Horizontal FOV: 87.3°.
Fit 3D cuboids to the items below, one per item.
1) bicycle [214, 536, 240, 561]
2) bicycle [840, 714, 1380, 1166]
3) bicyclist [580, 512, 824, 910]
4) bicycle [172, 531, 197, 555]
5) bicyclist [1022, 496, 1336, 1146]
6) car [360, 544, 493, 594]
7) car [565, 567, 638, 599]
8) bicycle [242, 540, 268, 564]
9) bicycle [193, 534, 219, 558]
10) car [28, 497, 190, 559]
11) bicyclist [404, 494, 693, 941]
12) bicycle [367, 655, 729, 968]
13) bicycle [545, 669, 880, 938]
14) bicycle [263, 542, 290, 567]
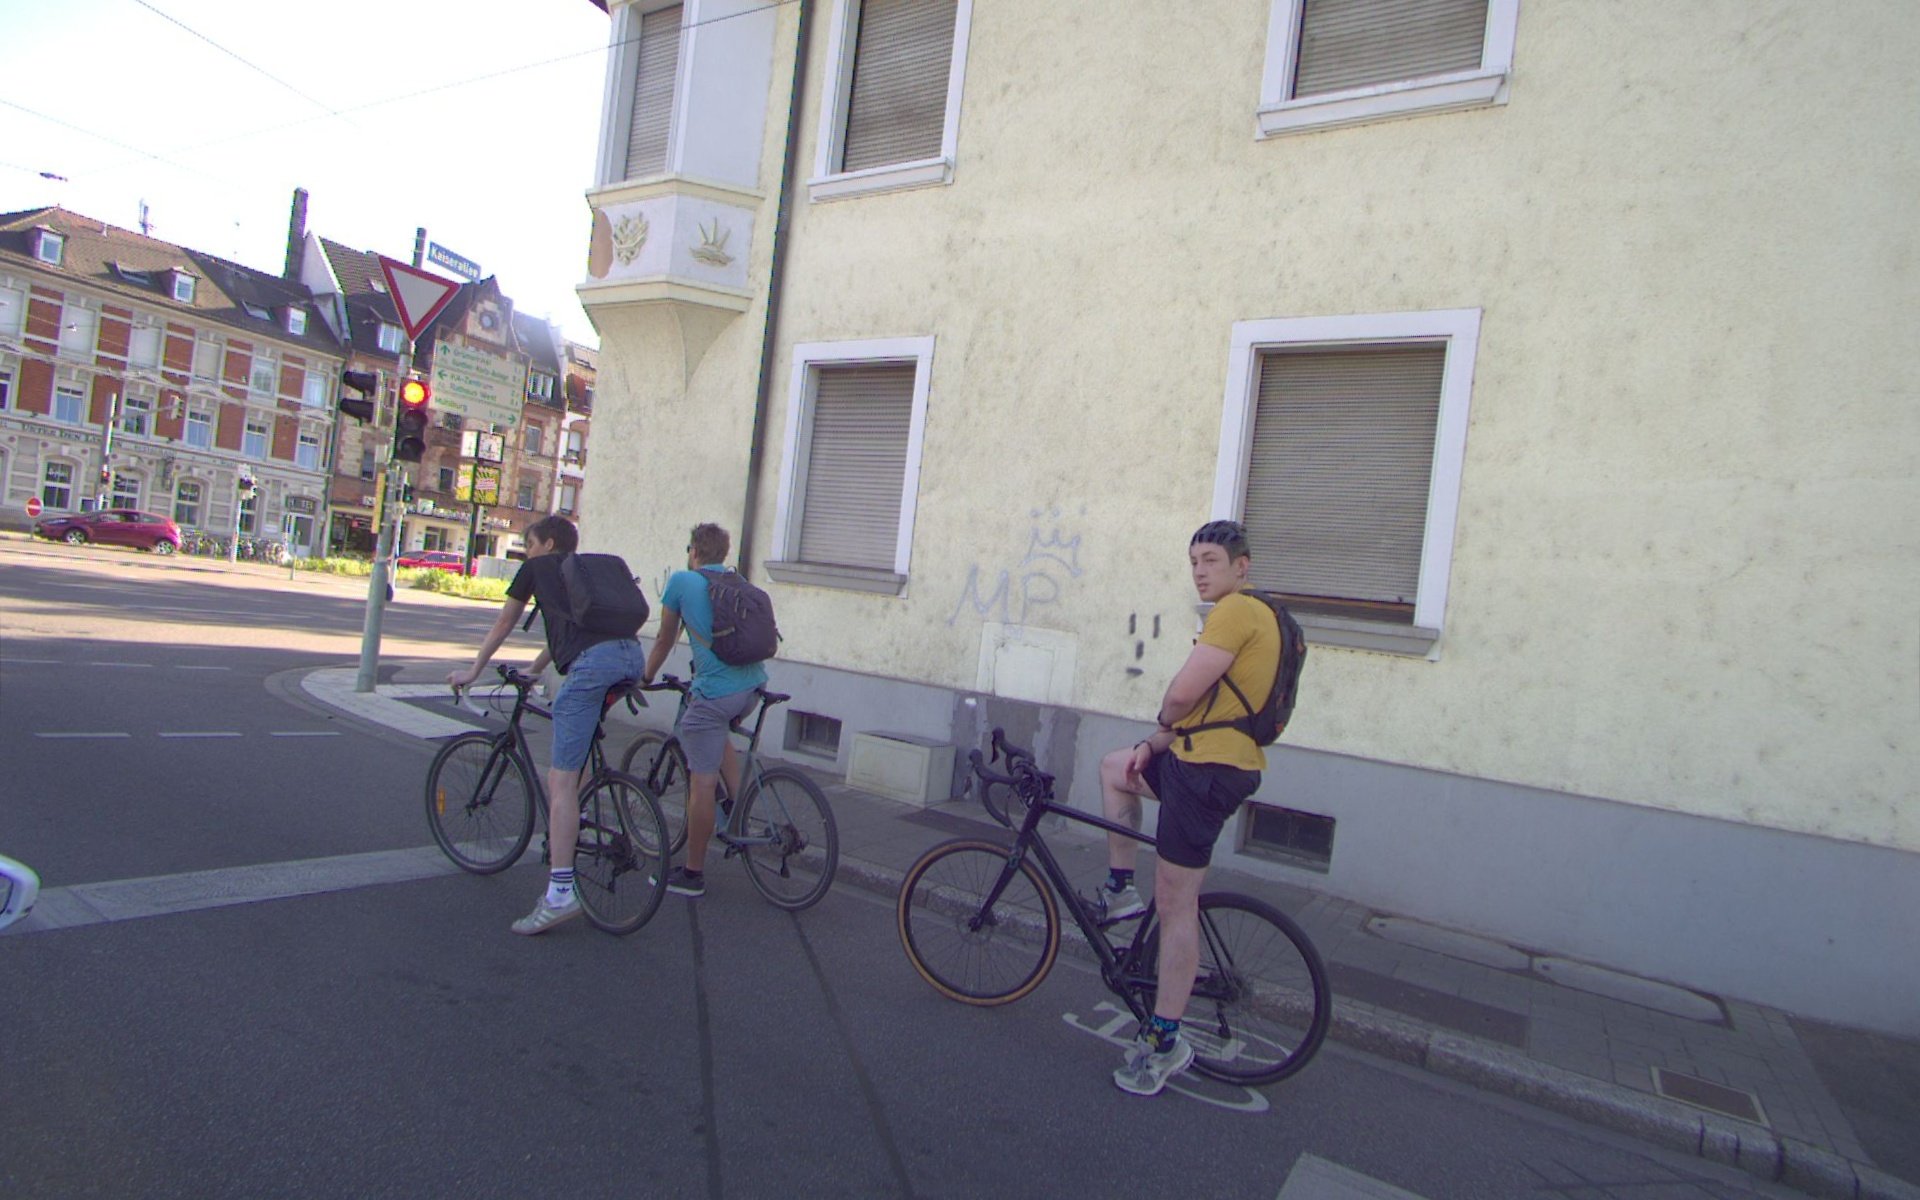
[{"bbox_3d":[-34.275,-2.419,47.023,0.762,0.995,2.186,8,-2,-39],"label":"bicycle"},{"bbox_3d":[0.555,1.135,3.782,1.709,1.119,0.783,7,-1,18],"label":"bicycle"},{"bbox_3d":[-1.356,0.531,5.277,0.960,1.868,0.504,6,-1,32],"label":"bicyclist"},{"bbox_3d":[-35.332,-2.607,45.825,0.762,0.974,2.186,8,-2,-39],"label":"bicycle"},{"bbox_3d":[0.813,0.709,3.657,0.763,1.990,0.783,7,0,18],"label":"bicyclist"},{"bbox_3d":[-23.493,-1.337,44.494,1.774,1.487,4.866,8,-1,32],"label":"car"},{"bbox_3d":[-23.178,-1.096,65.121,1.842,1.454,3.985,6,-2,35],"label":"car"},{"bbox_3d":[-33.605,-2.307,47.944,0.762,1.019,2.196,8,-2,-39],"label":"bicycle"},{"bbox_3d":[-34.772,-2.510,46.401,0.762,0.979,2.186,8,-2,-39],"label":"bicycle"},{"bbox_3d":[-29.284,-2.442,34.721,1.569,1.443,3.876,7,-1,32],"label":"car"},{"bbox_3d":[-1.863,0.476,4.560,0.920,1.787,0.590,6,-1,32],"label":"bicyclist"},{"bbox_3d":[-1.911,0.865,4.557,1.753,1.003,0.482,6,-1,32],"label":"bicycle"},{"bbox_3d":[-1.327,0.975,5.224,1.753,0.995,0.504,6,-1,32],"label":"bicycle"},{"bbox_3d":[-33.056,-2.208,48.607,0.789,1.027,2.186,8,-2,-39],"label":"bicycle"}]
